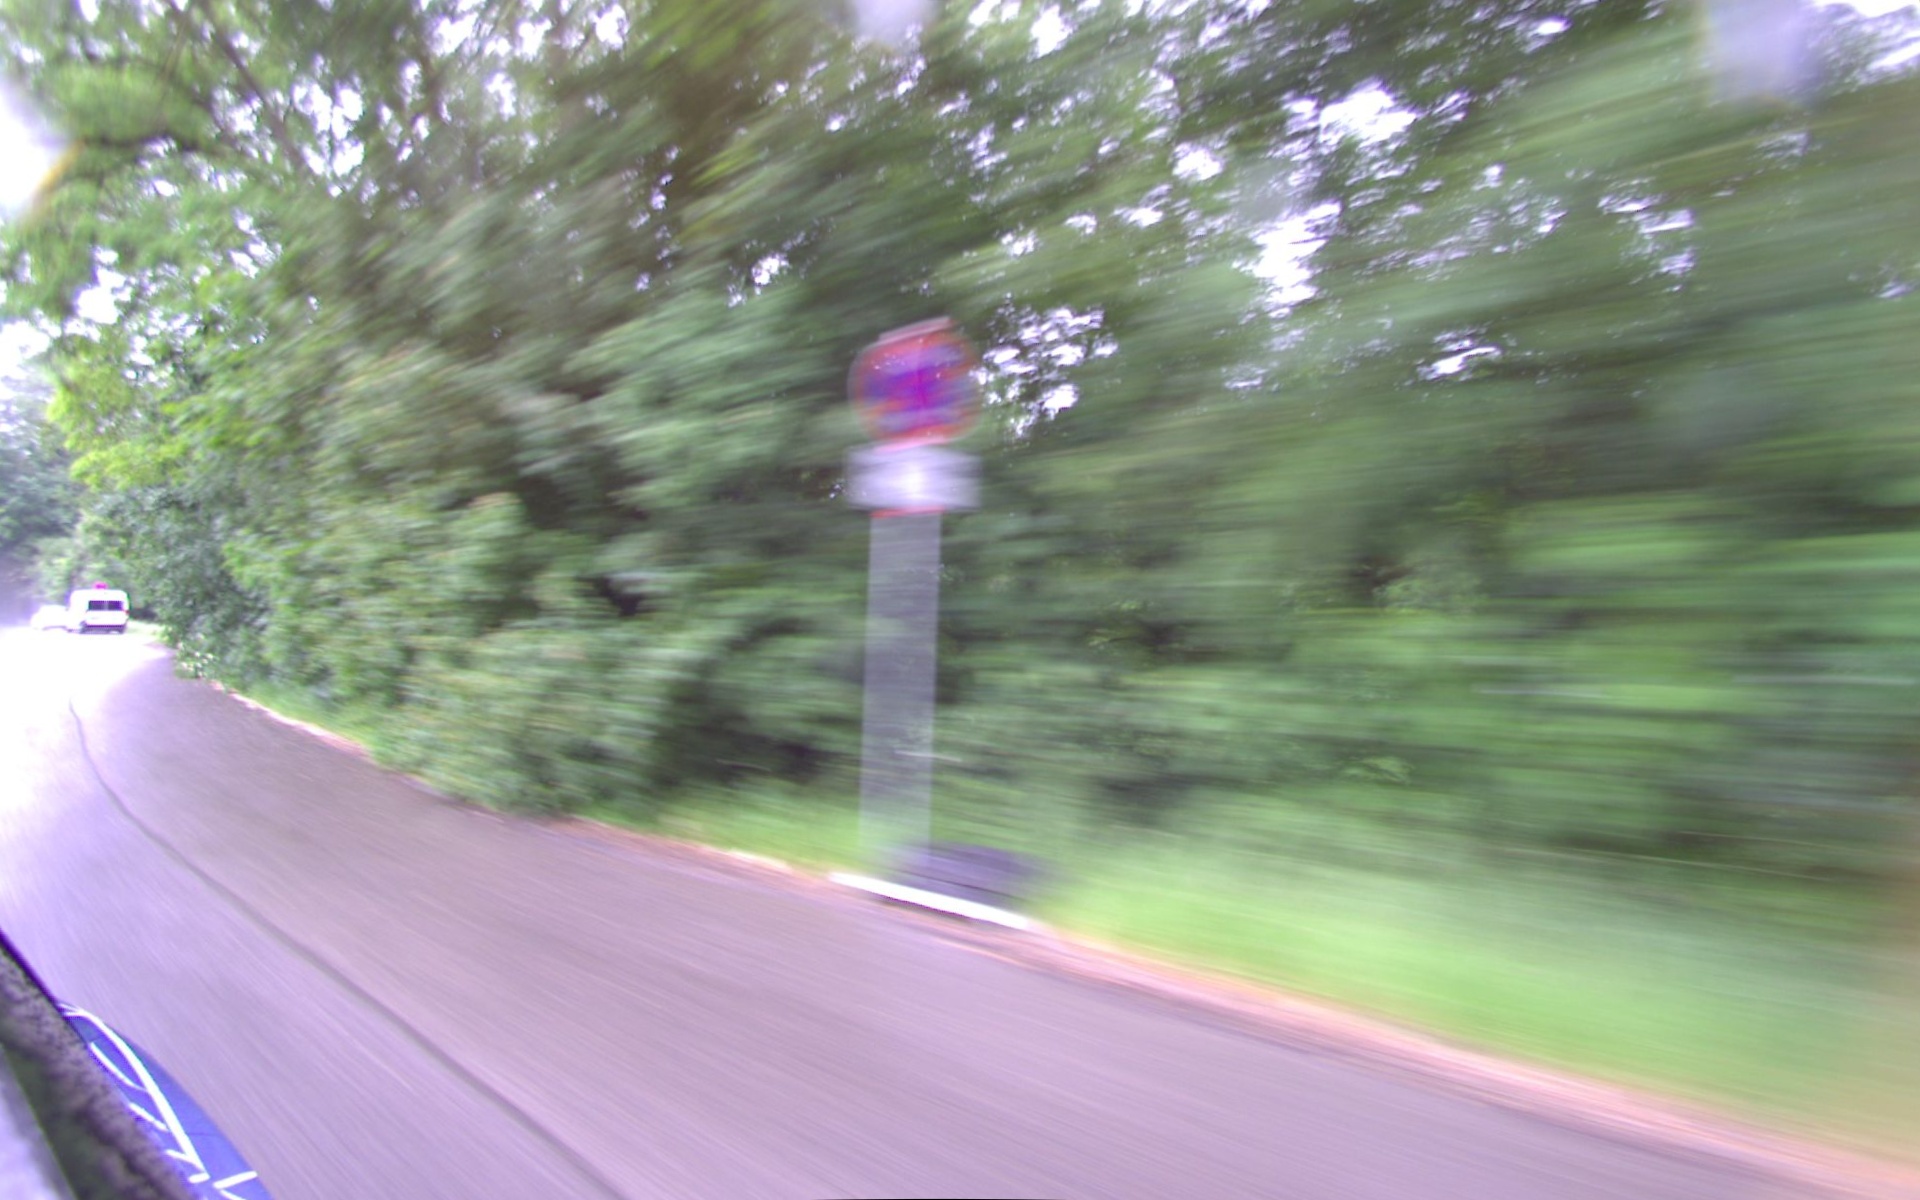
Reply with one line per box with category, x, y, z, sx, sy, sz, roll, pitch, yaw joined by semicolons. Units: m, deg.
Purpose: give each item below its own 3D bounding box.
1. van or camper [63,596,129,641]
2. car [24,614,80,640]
van or camper;-50.423;1.102;59.022;4.834;2.535;2.173;-1;-3;41
car;-58.501;1.755;65.208;4.555;1.592;2.076;-1;-3;41
